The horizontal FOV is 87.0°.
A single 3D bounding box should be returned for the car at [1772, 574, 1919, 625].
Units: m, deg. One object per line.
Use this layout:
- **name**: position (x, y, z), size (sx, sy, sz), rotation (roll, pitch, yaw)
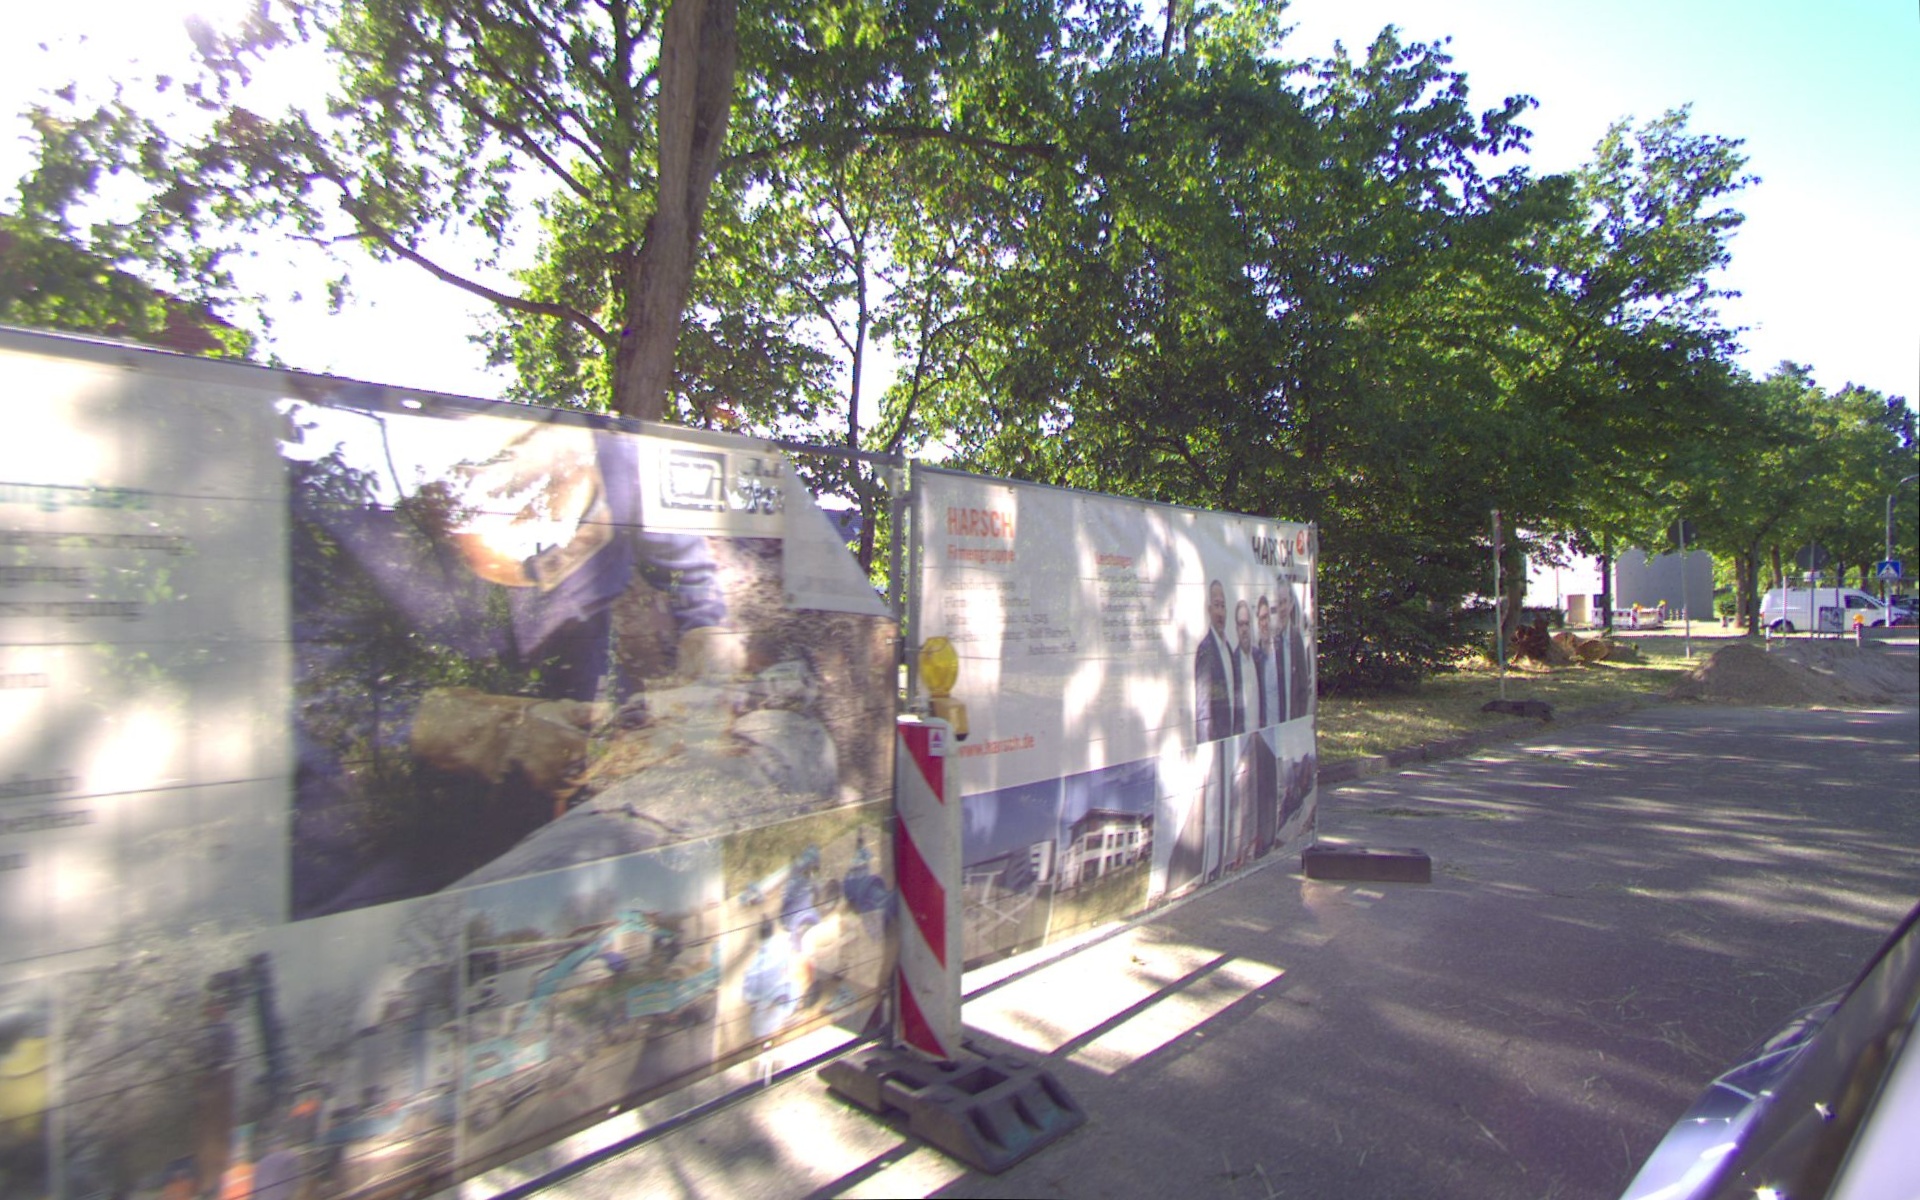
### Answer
- **car**: position (39.060, -0.019, 44.468), size (1.858, 2.108, 5.040), rotation (0, 0, -41)
